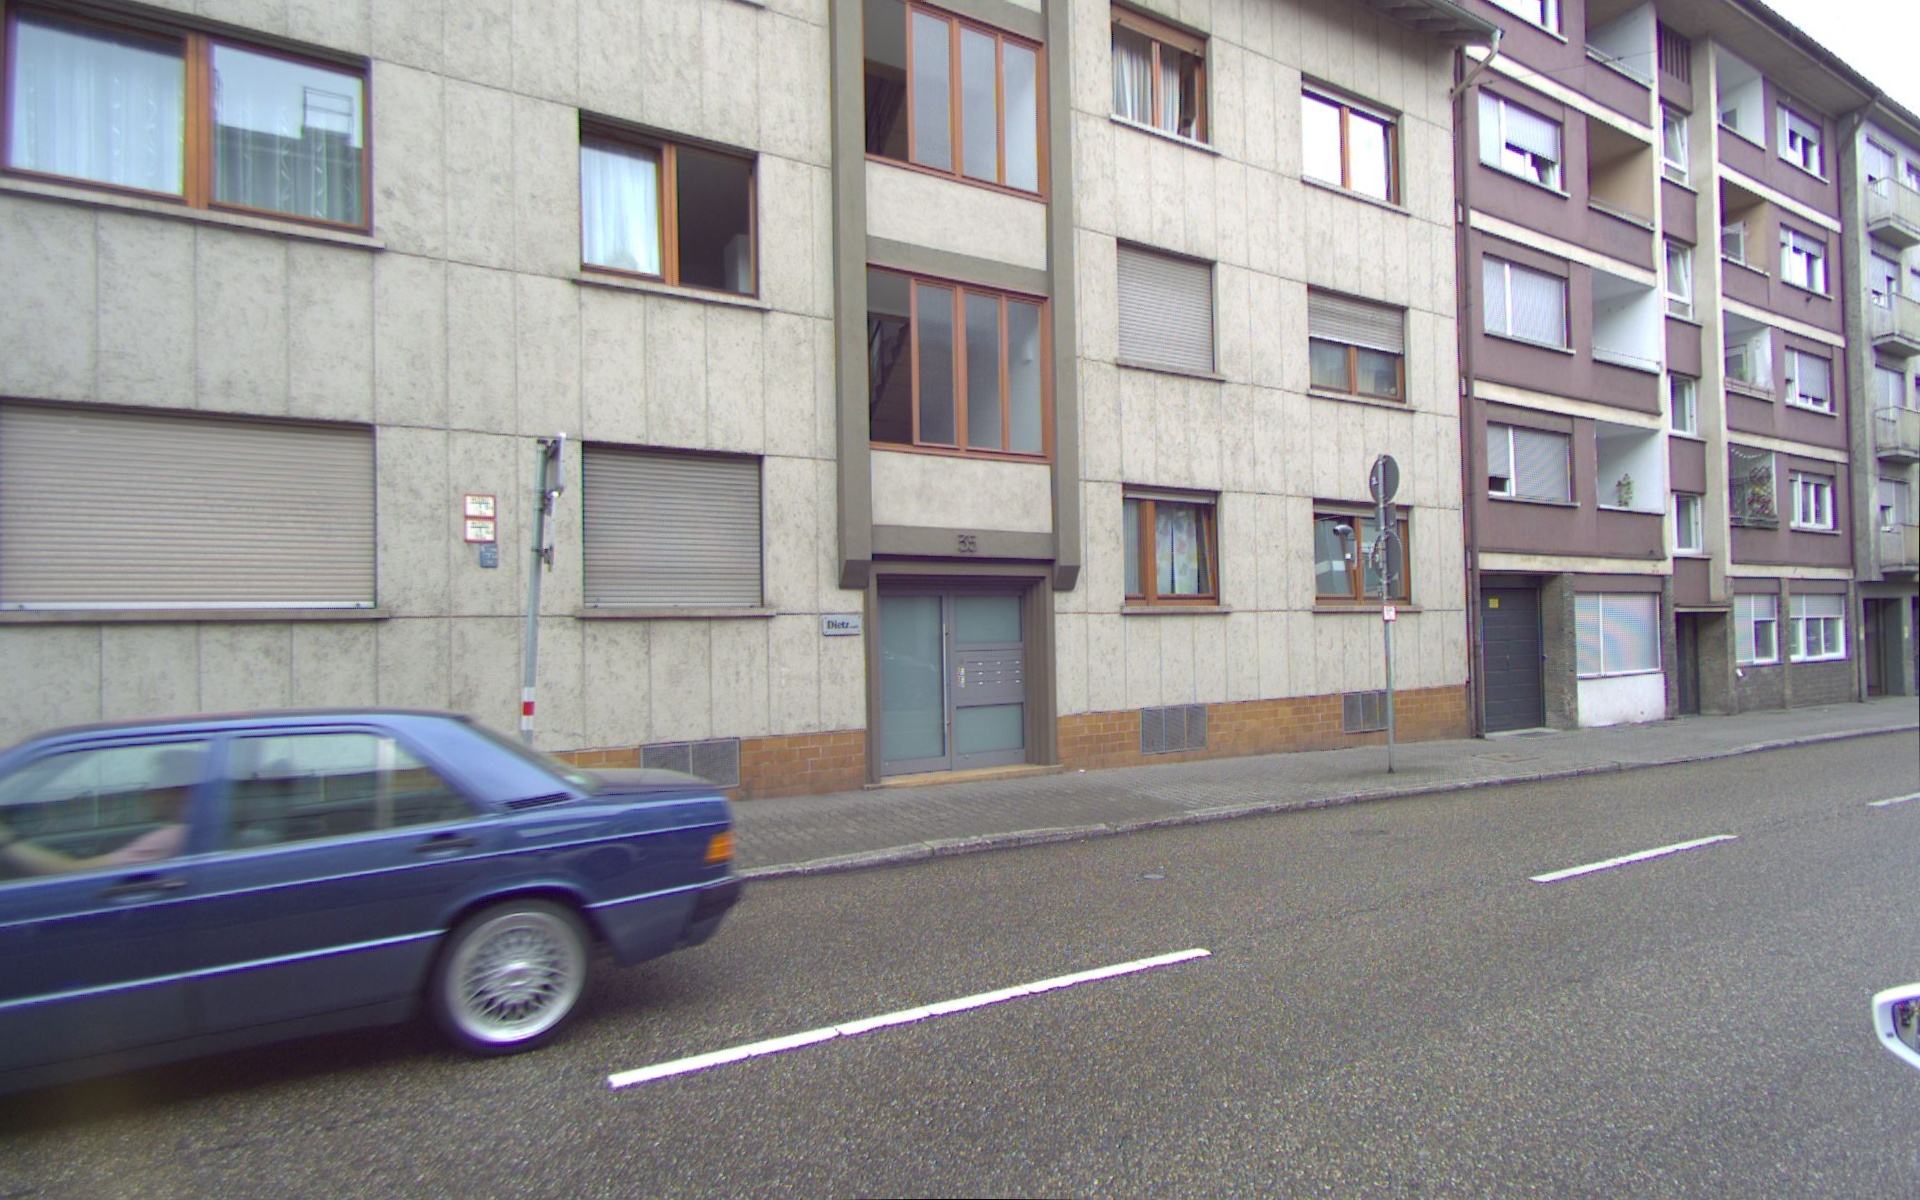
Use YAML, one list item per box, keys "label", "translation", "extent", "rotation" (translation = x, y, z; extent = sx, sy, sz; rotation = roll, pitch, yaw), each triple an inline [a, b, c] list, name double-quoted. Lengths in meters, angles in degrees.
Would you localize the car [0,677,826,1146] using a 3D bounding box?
- label: "car"
  translation: [-2.853, 1.057, 4.115]
  extent: [4.312, 1.388, 1.591]
  rotation: [2, -5, -31]
